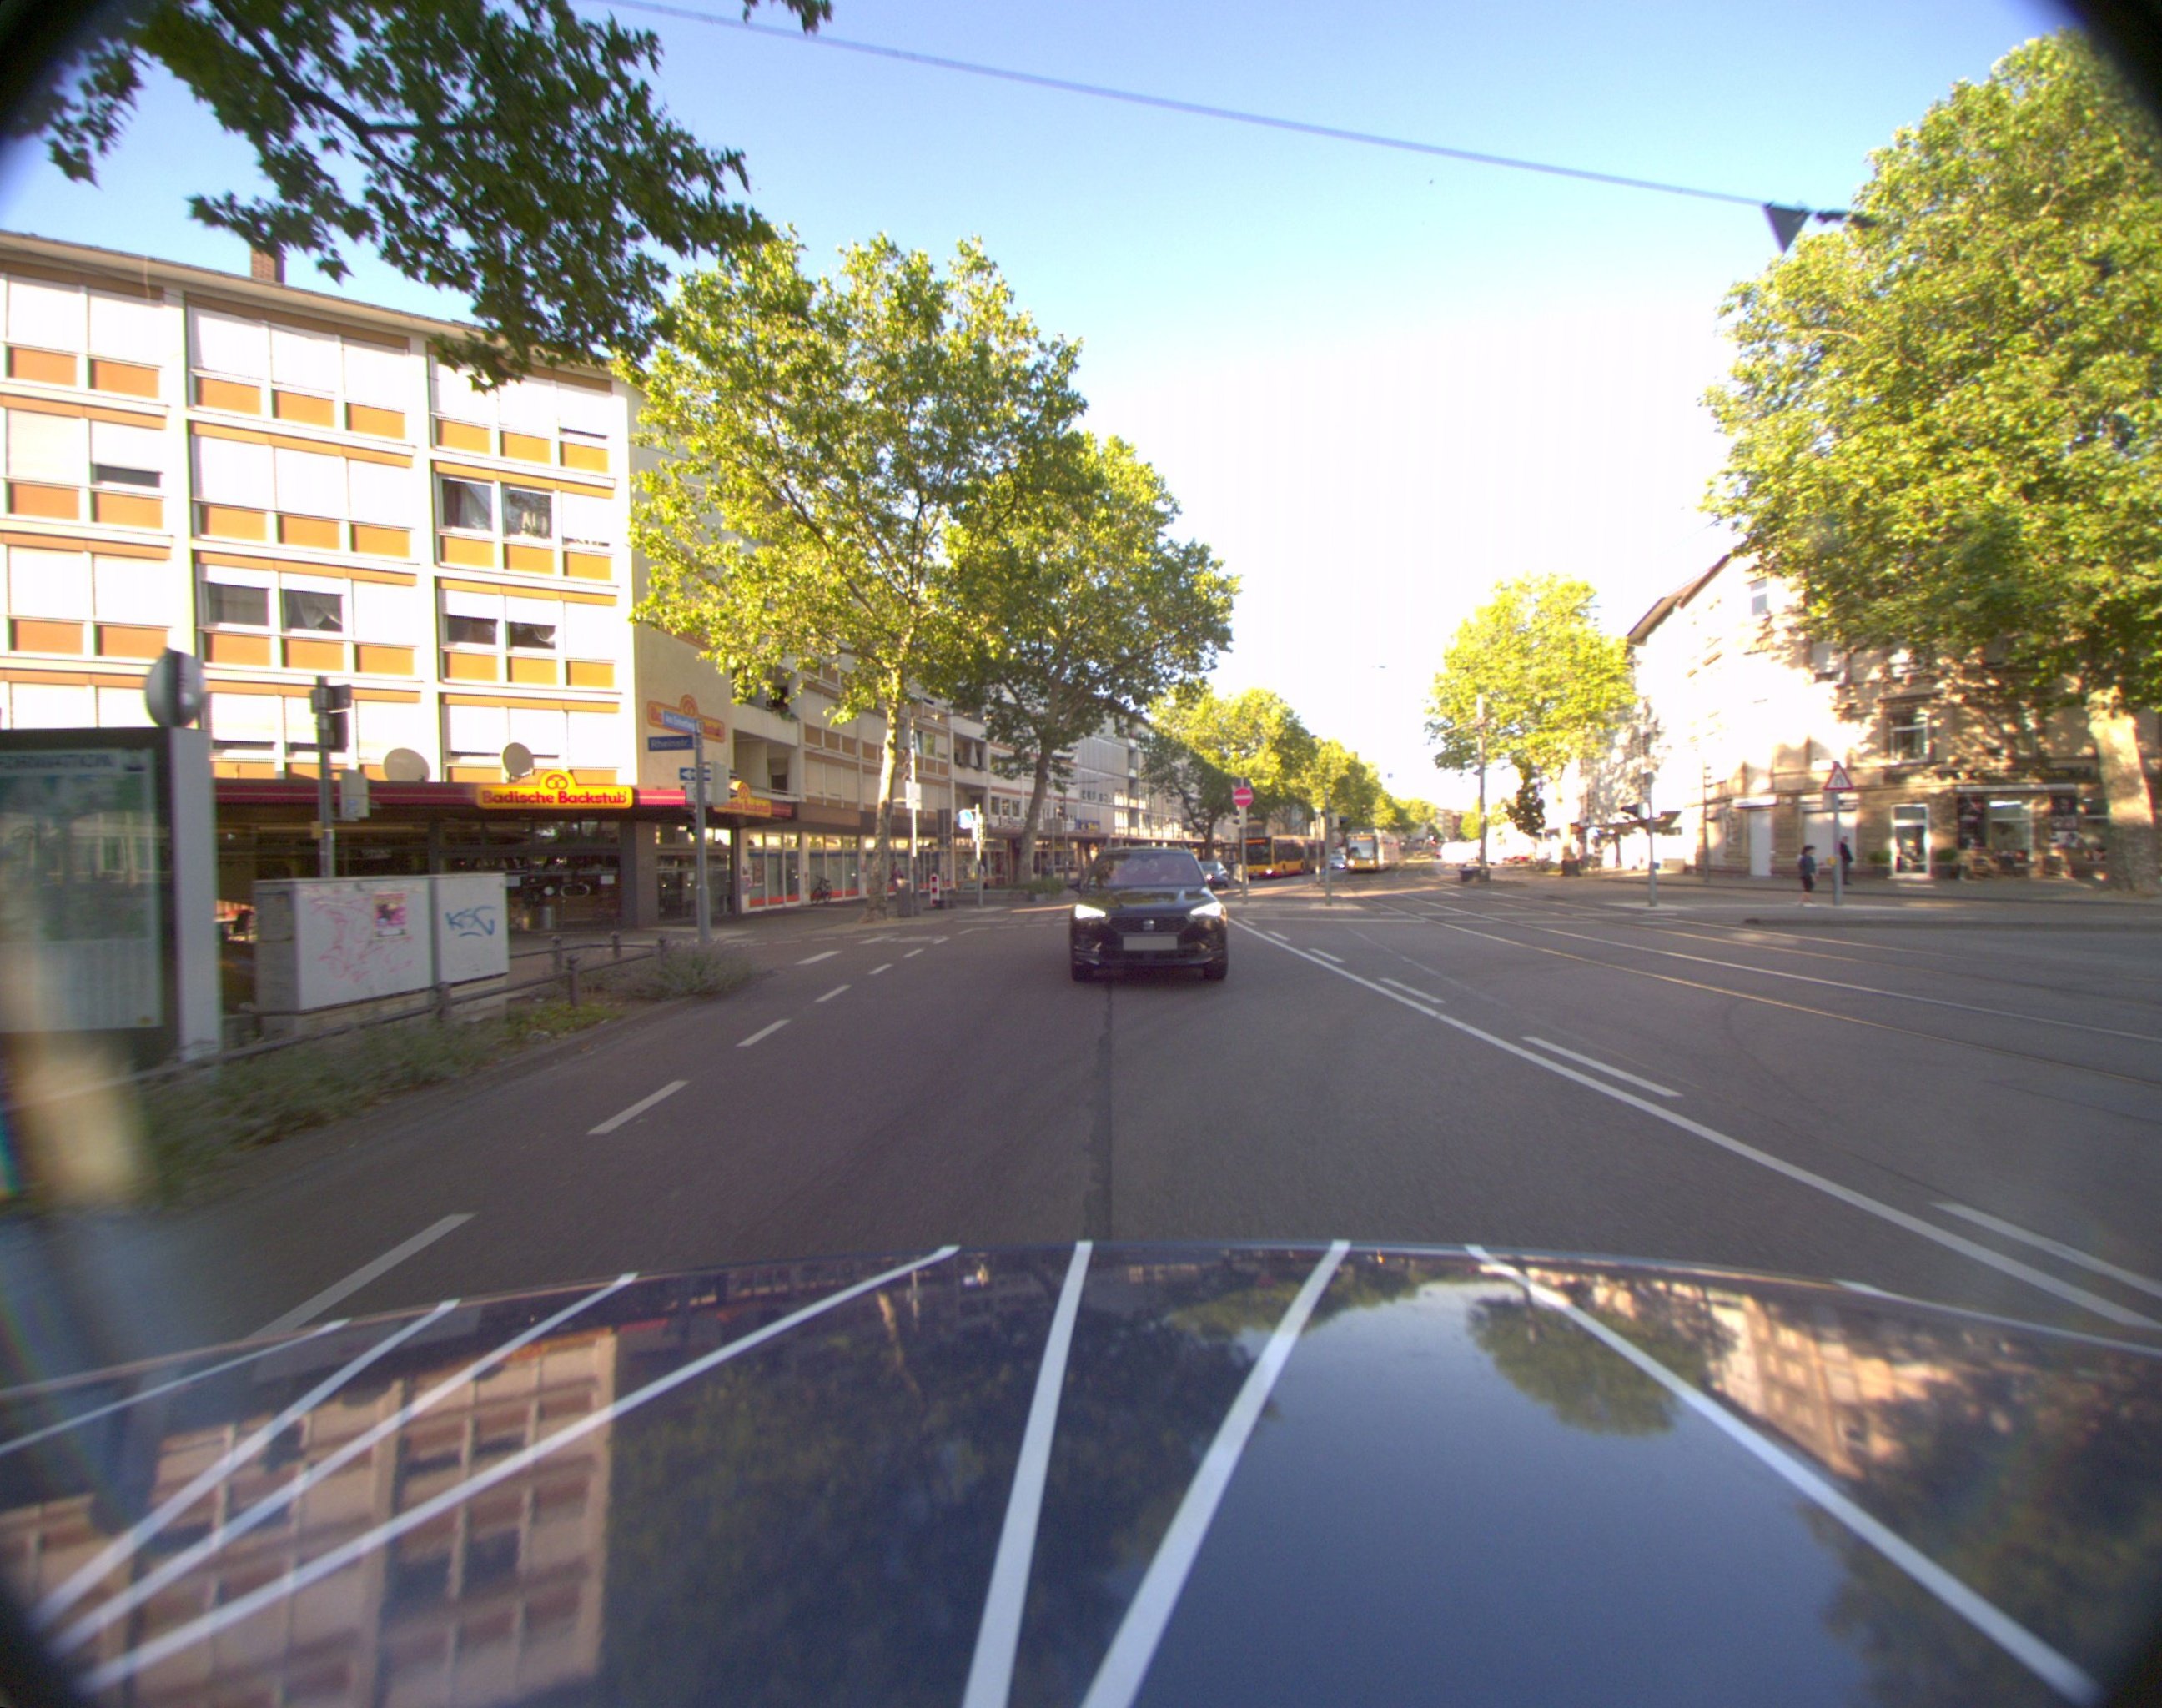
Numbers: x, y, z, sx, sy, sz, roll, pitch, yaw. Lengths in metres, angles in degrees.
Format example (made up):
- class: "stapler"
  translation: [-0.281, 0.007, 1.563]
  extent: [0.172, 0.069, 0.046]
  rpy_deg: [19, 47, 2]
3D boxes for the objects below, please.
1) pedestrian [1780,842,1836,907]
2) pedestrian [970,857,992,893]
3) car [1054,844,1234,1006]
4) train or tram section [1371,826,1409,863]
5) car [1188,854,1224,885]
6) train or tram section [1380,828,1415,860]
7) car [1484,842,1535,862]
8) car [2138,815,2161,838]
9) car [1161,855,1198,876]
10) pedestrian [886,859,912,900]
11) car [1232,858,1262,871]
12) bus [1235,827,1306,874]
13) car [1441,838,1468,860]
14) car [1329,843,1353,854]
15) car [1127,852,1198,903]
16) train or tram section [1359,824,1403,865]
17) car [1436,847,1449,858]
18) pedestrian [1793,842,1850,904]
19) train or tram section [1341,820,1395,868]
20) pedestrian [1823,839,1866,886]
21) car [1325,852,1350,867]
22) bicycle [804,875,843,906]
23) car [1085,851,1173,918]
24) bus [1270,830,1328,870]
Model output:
- class: "pedestrian"
  translation: [17.590, 0.485, 18.393]
  extent: [0.799, 1.500, 0.800]
  rpy_deg: [-2, 0, -33]
- class: "pedestrian"
  translation: [-4.948, 1.036, 37.656]
  extent: [0.749, 1.747, 0.902]
  rpy_deg: [-1, 0, 12]
- class: "car"
  translation: [0.706, 0.759, 10.236]
  extent: [1.848, 1.648, 4.299]
  rpy_deg: [-3, 0, 1]
- class: "train or tram section"
  translation: [32.159, -0.964, 78.766]
  extent: [2.873, 3.467, 10.356]
  rpy_deg: [-2, 0, 26]
- class: "car"
  translation: [6.353, 0.786, 38.568]
  extent: [1.650, 1.463, 3.711]
  rpy_deg: [-2, -1, 10]
- class: "train or tram section"
  translation: [36.790, -1.136, 88.025]
  extent: [2.837, 3.467, 10.356]
  rpy_deg: [-2, 0, 27]
- class: "car"
  translation: [44.954, -0.177, 79.779]
  extent: [4.653, 1.965, 1.901]
  rpy_deg: [-1, 0, -16]
- class: "car"
  translation: [105.513, -2.720, 74.500]
  extent: [4.008, 2.131, 1.846]
  rpy_deg: [-1, 0, -41]
- class: "car"
  translation: [7.165, 0.830, 55.085]
  extent: [1.649, 1.463, 3.714]
  rpy_deg: [-2, -1, 23]
- class: "pedestrian"
  translation: [-8.049, 1.110, 33.554]
  extent: [0.749, 1.747, 0.902]
  rpy_deg: [-1, 0, 12]
- class: "car"
  translation: [16.509, 1.067, 75.406]
  extent: [2.630, 1.209, 1.199]
  rpy_deg: [-2, 1, -12]
- class: "bus"
  translation: [13.949, -0.255, 55.267]
  extent: [2.748, 3.085, 9.514]
  rpy_deg: [-1, 0, 28]
- class: "car"
  translation: [36.759, -0.504, 74.873]
  extent: [2.163, 2.110, 4.986]
  rpy_deg: [0, 0, 24]
- class: "car"
  translation: [50.515, -1.110, 147.622]
  extent: [4.001, 2.002, 1.878]
  rpy_deg: [-1, 0, -13]
- class: "car"
  translation: [3.088, 0.804, 27.983]
  extent: [1.846, 1.648, 4.304]
  rpy_deg: [-3, 0, 16]
- class: "train or tram section"
  translation: [27.572, -0.863, 69.460]
  extent: [2.837, 3.467, 10.356]
  rpy_deg: [-2, 0, 26]
- class: "car"
  translation: [63.620, -0.308, 133.649]
  extent: [1.813, 1.766, 4.006]
  rpy_deg: [-1, 0, 23]
- class: "pedestrian"
  translation: [18.329, 0.459, 18.813]
  extent: [0.799, 1.500, 0.800]
  rpy_deg: [-2, 0, -28]
- class: "train or tram section"
  translation: [22.865, -0.782, 60.176]
  extent: [2.818, 3.467, 10.356]
  rpy_deg: [-2, 0, 27]
- class: "pedestrian"
  translation: [28.989, 0.322, 28.869]
  extent: [0.797, 1.745, 0.802]
  rpy_deg: [-2, 0, -5]
- class: "car"
  translation: [27.103, 0.566, 80.238]
  extent: [1.908, 1.467, 4.425]
  rpy_deg: [-1, 1, 27]
- class: "bicycle"
  translation: [-10.087, 1.409, 29.839]
  extent: [0.528, 1.136, 1.976]
  rpy_deg: [-1, 0, 10]
- class: "car"
  translation: [1.512, 0.787, 21.907]
  extent: [1.847, 1.648, 4.656]
  rpy_deg: [-3, 0, 12]
- class: "bus"
  translation: [18.433, -0.359, 63.689]
  extent: [2.748, 3.085, 9.514]
  rpy_deg: [-1, 0, 28]
